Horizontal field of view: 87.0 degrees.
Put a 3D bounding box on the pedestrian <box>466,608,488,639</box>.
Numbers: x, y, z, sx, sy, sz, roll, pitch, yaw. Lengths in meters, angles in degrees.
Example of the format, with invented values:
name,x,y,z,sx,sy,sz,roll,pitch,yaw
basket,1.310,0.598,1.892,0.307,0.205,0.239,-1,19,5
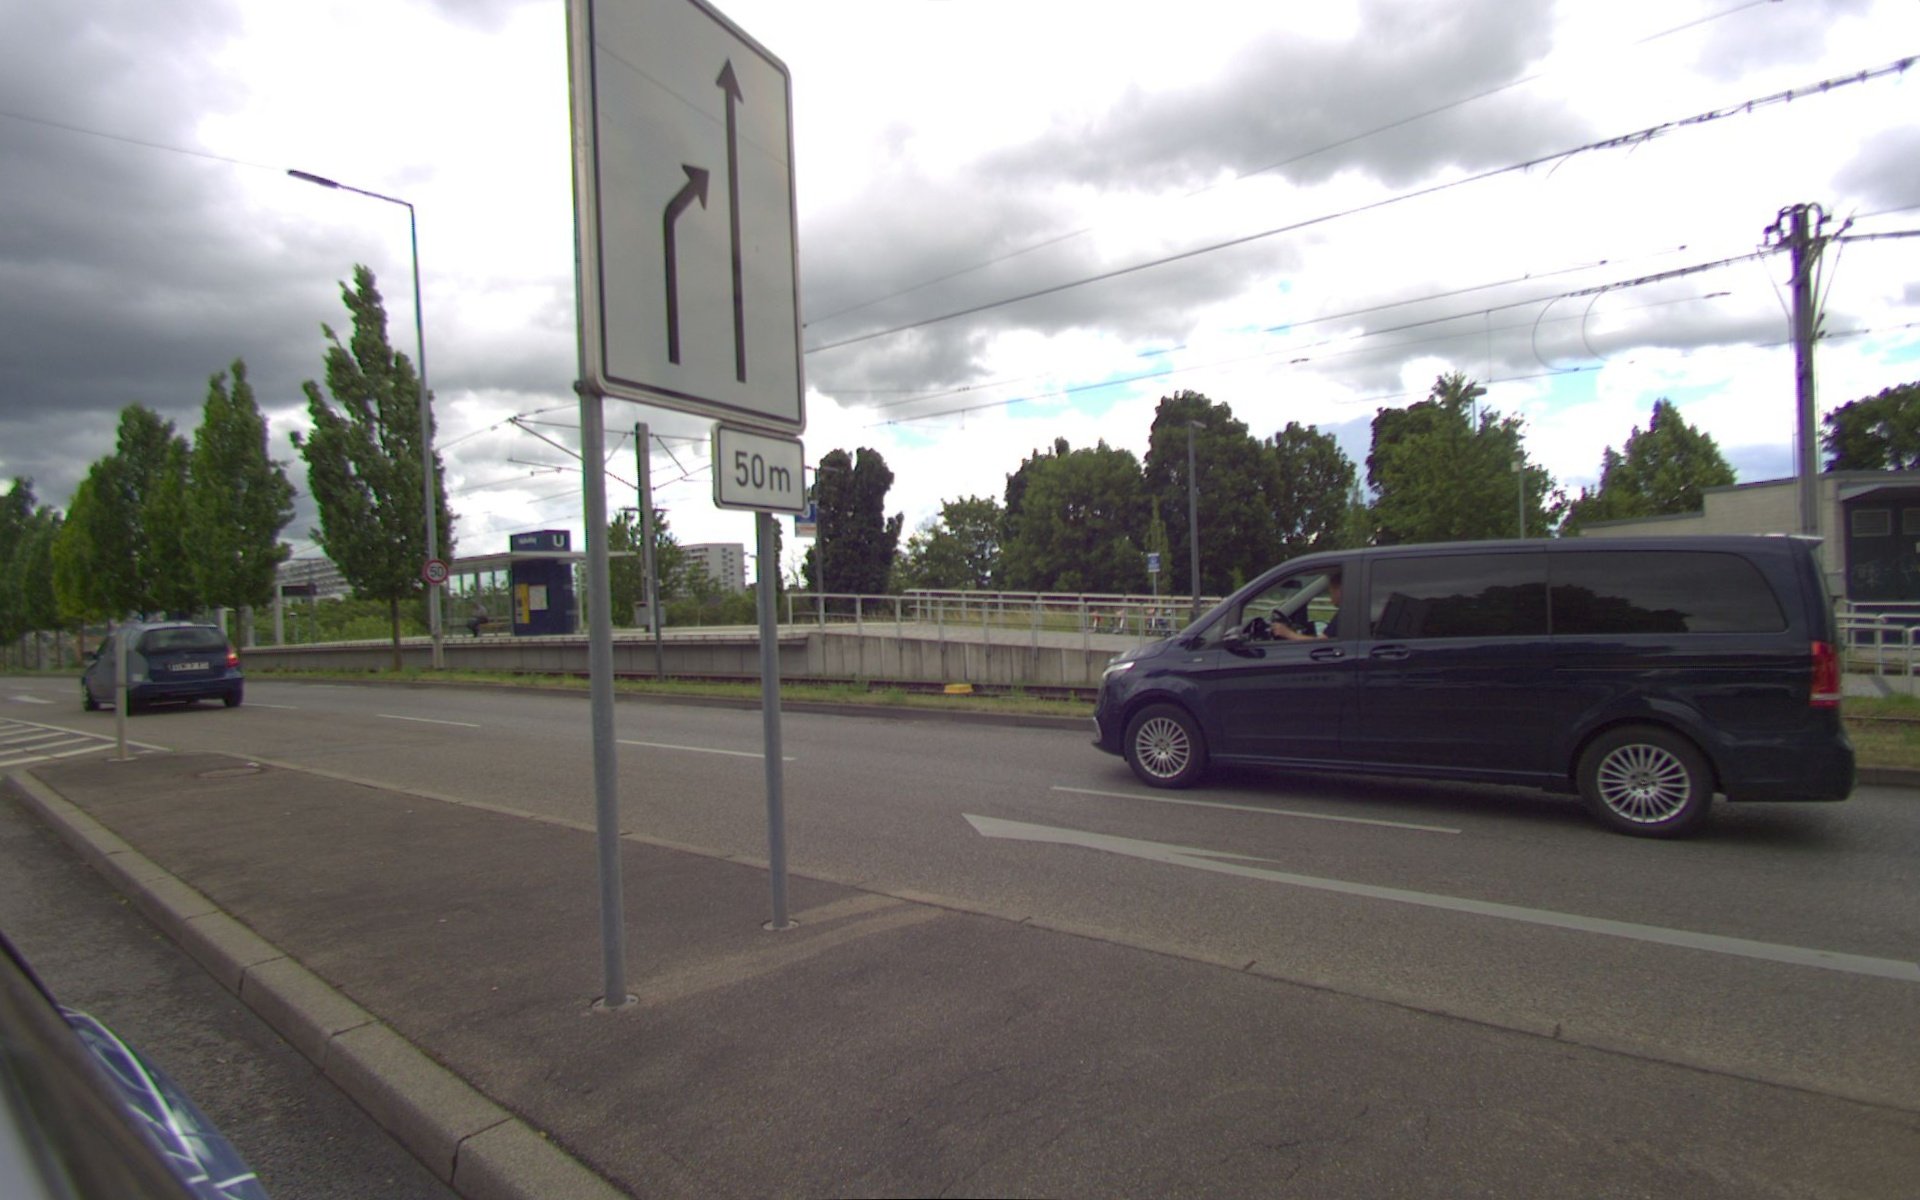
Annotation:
name,x,y,z,sx,sy,sz,roll,pitch,yaw
pedestrian,-18.150,0.872,38.034,0.447,1.163,0.593,-1,0,41

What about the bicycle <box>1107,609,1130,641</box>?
name,x,y,z,sx,sy,sz,roll,pitch,yaw
bicycle,5.400,0.846,34.444,0.531,1.039,1.804,-1,0,16

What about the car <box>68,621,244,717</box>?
name,x,y,z,sx,sy,sz,roll,pitch,yaw
car,-14.598,1.183,18.321,3.655,1.520,1.719,-2,-1,38

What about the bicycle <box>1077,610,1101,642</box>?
name,x,y,z,sx,sy,sz,roll,pitch,yaw
bicycle,4.439,0.879,34.816,0.531,1.039,1.804,-1,0,16

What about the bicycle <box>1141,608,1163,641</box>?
name,x,y,z,sx,sy,sz,roll,pitch,yaw
bicycle,6.456,0.815,33.991,0.531,1.039,1.804,-1,0,16

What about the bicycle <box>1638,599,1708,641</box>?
name,x,y,z,sx,sy,sz,roll,pitch,yaw
bicycle,18.357,0.504,26.097,0.529,1.039,1.813,-1,0,1

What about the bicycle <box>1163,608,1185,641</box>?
name,x,y,z,sx,sy,sz,roll,pitch,yaw
bicycle,7.133,0.801,33.676,0.531,1.039,1.804,-1,0,16

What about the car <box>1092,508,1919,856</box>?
name,x,y,z,sx,sy,sz,roll,pitch,yaw
car,3.667,0.472,7.487,5.083,1.826,1.870,-1,-1,37
